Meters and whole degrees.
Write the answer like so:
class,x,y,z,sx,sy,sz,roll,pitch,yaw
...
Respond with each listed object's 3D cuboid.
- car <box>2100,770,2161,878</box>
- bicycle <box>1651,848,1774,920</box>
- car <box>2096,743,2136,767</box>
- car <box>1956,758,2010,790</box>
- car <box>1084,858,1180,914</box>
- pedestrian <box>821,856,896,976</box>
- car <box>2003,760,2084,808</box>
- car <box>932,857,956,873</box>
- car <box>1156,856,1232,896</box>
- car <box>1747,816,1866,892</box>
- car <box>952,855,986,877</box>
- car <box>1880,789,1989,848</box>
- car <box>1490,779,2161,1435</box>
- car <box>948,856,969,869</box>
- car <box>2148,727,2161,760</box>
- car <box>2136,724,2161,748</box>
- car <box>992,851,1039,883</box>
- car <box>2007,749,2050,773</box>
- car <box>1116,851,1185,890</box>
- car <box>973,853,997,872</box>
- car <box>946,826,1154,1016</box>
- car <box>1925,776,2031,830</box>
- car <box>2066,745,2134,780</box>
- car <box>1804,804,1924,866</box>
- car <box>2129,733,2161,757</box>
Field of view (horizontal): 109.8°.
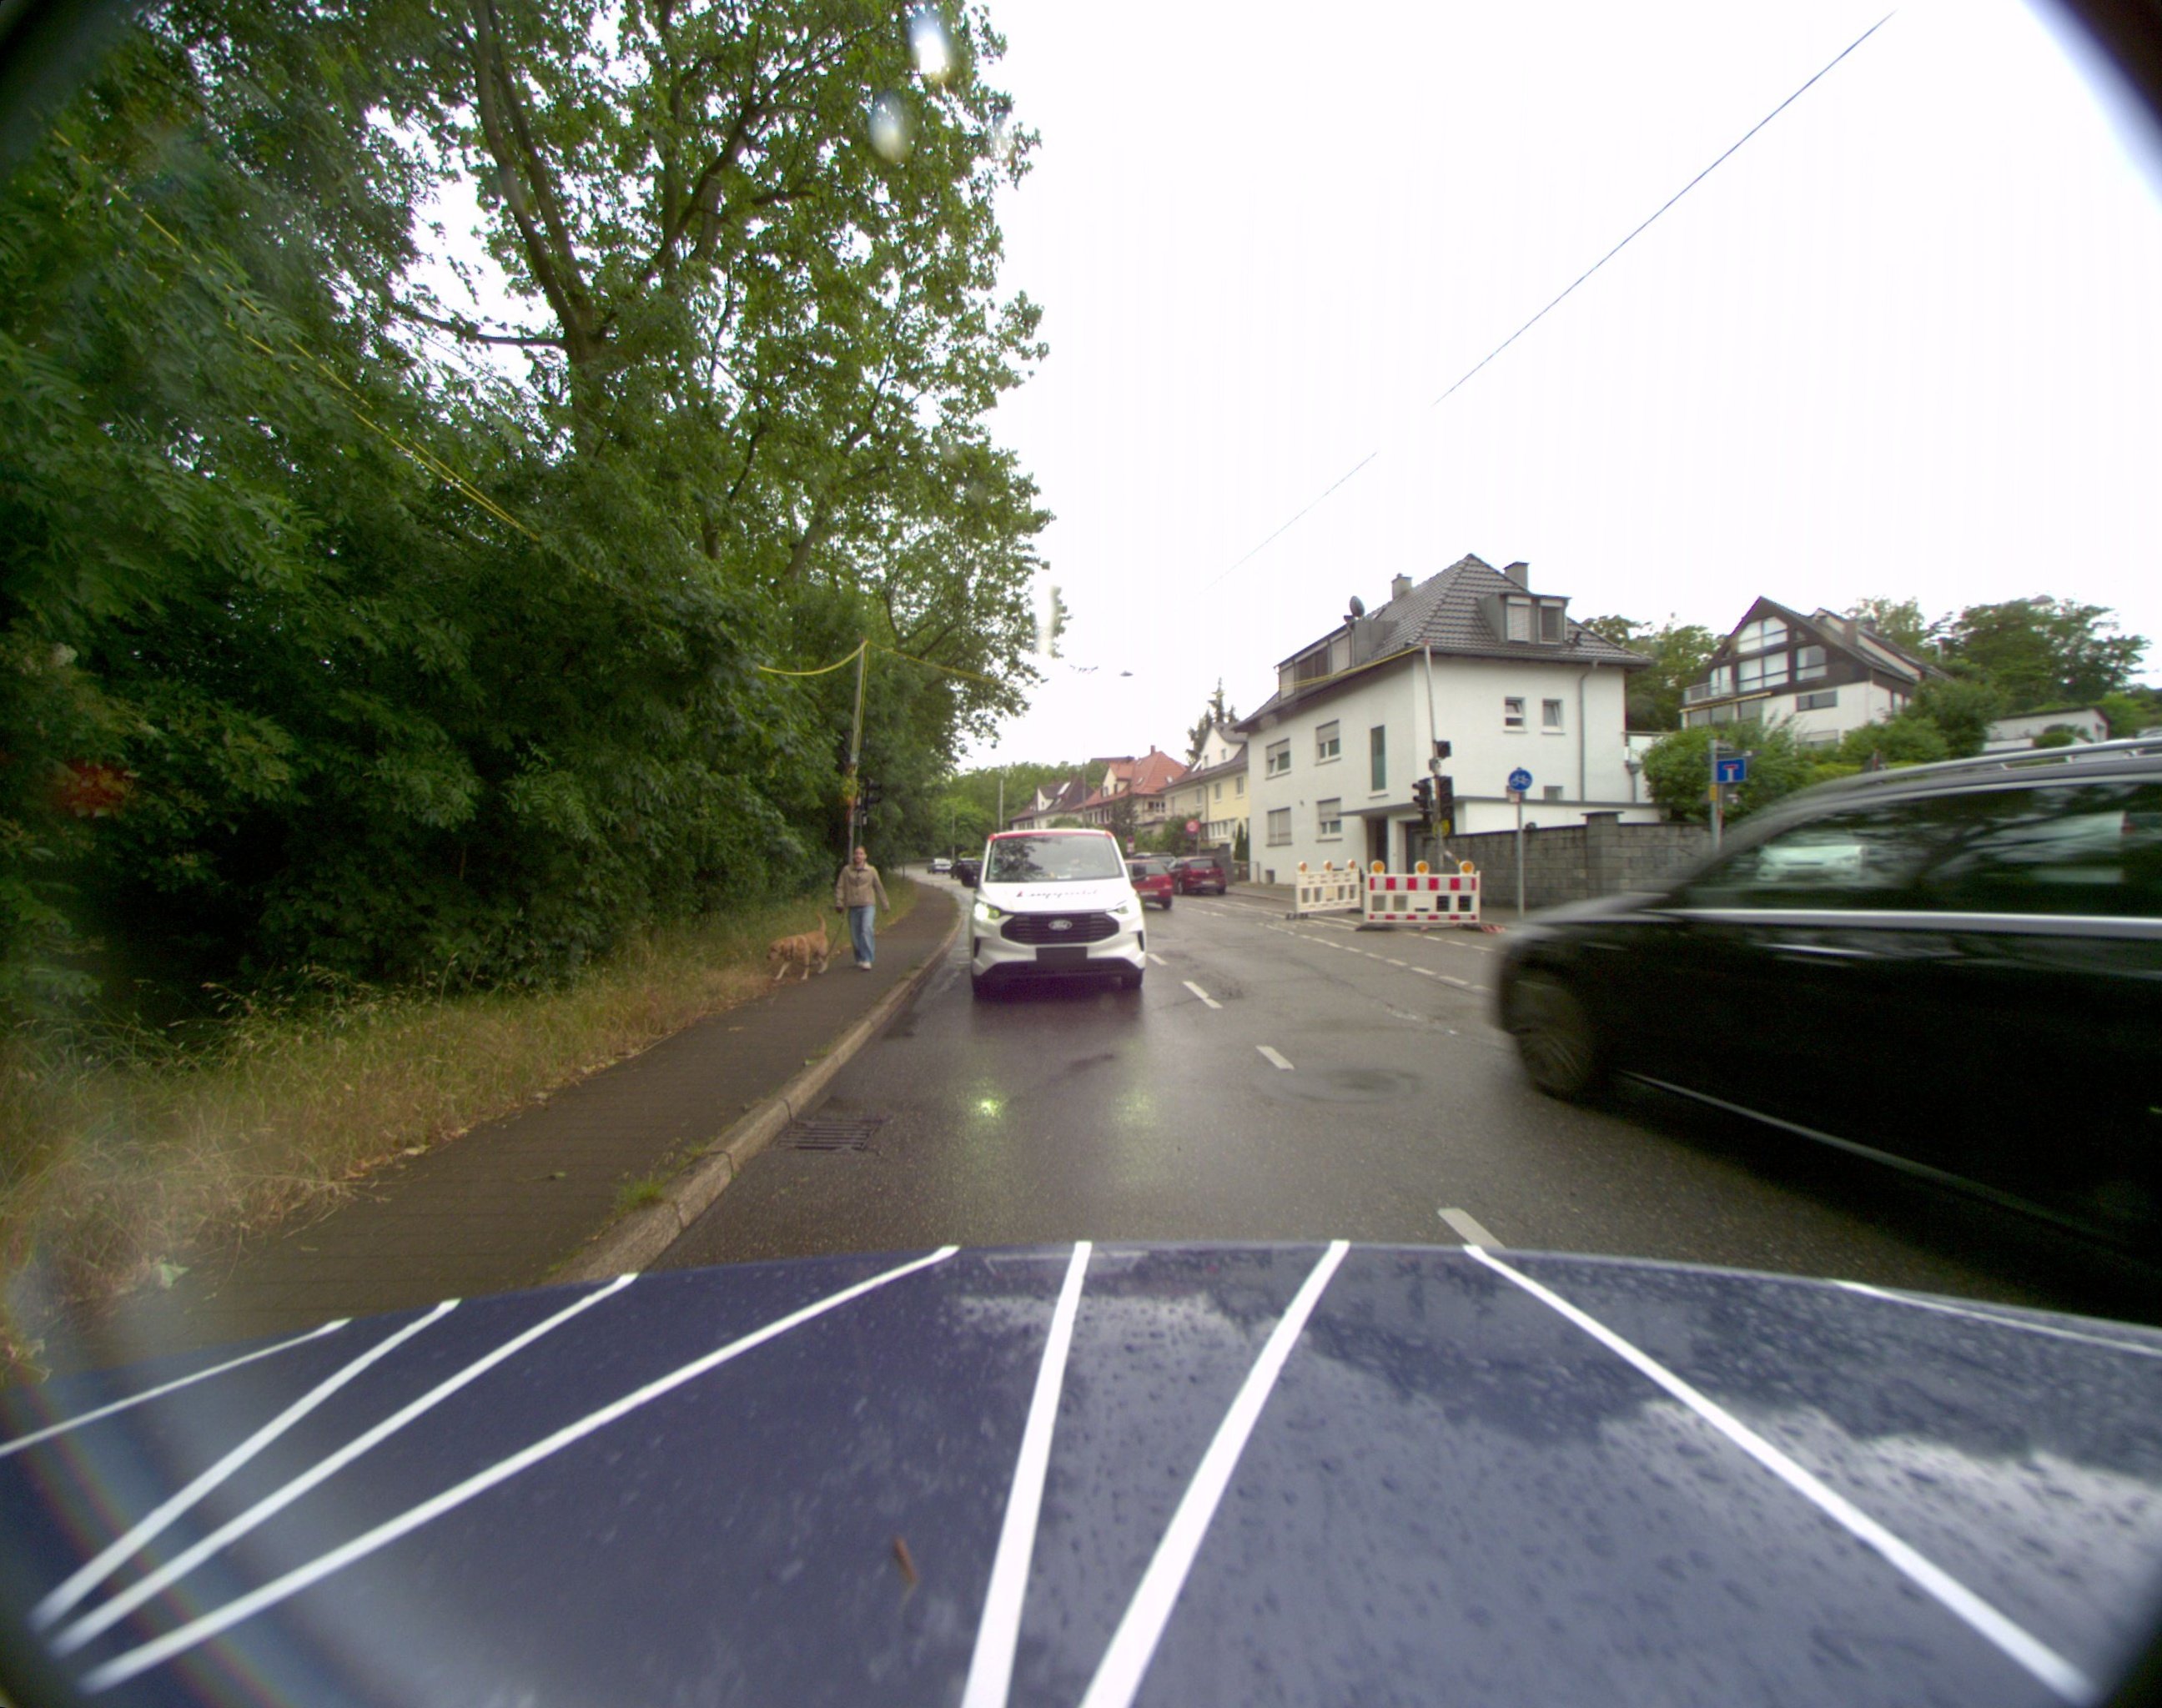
class,x,y,z,sx,sy,sz,roll,pitch,yaw
car,23.880,-0.752,16.276,4.497,2.003,1.996,-7,3,-31
bicycle,11.584,0.536,13.951,2.006,1.233,0.510,-2,3,-8
car,59.837,-5.744,43.909,2.988,1.191,1.305,-6,3,-35
car,52.867,-4.652,44.529,4.020,1.545,1.812,-3,1,-37
car,1.422,0.901,22.700,1.770,1.454,3.882,-2,0,-13
pedestrian,-2.895,0.786,9.967,0.735,1.490,0.785,1,1,-1
car,40.718,-2.985,32.125,4.004,1.617,1.638,-8,4,-32
car,-14.100,1.086,78.225,1.860,1.518,4.813,-3,0,-16
car,4.380,0.812,29.922,1.787,1.423,3.844,-2,0,-10
car,17.774,-0.050,18.553,4.126,1.455,1.849,-7,4,-43
car,-8.792,0.922,59.306,1.874,1.612,4.158,-2,0,-18
car,27.267,-1.154,24.246,3.951,1.462,1.755,-7,3,-33
car,3.807,0.661,2.779,1.985,1.737,4.552,-1,0,-3
car,-15.232,1.049,94.194,2.071,1.477,4.556,-2,0,-16
car,72.465,-7.450,48.992,2.003,2.000,3.993,-2,-4,-32
car,81.119,-8.870,55.968,1.754,1.508,3.961,-3,1,-35
car,-3.860,0.725,44.103,2.001,1.664,4.683,-2,0,-13
car,57.239,-5.641,45.877,3.656,1.205,1.577,-7,3,-38
car,3.128,0.725,35.050,1.798,1.630,4.150,-1,0,-15
car,-9.607,0.825,75.973,1.882,1.814,4.121,-2,0,-14
car,-0.287,0.685,10.410,2.102,1.908,5.090,-2,0,1
car,32.325,-1.834,27.348,4.111,1.430,1.921,-9,4,-33
car,54.814,-4.882,40.852,4.034,1.511,1.786,-2,0,-31
car,22.461,-0.560,21.774,3.910,1.380,1.719,-7,3,-34
car,68.325,-6.939,47.708,1.286,1.310,2.945,-3,1,-36
